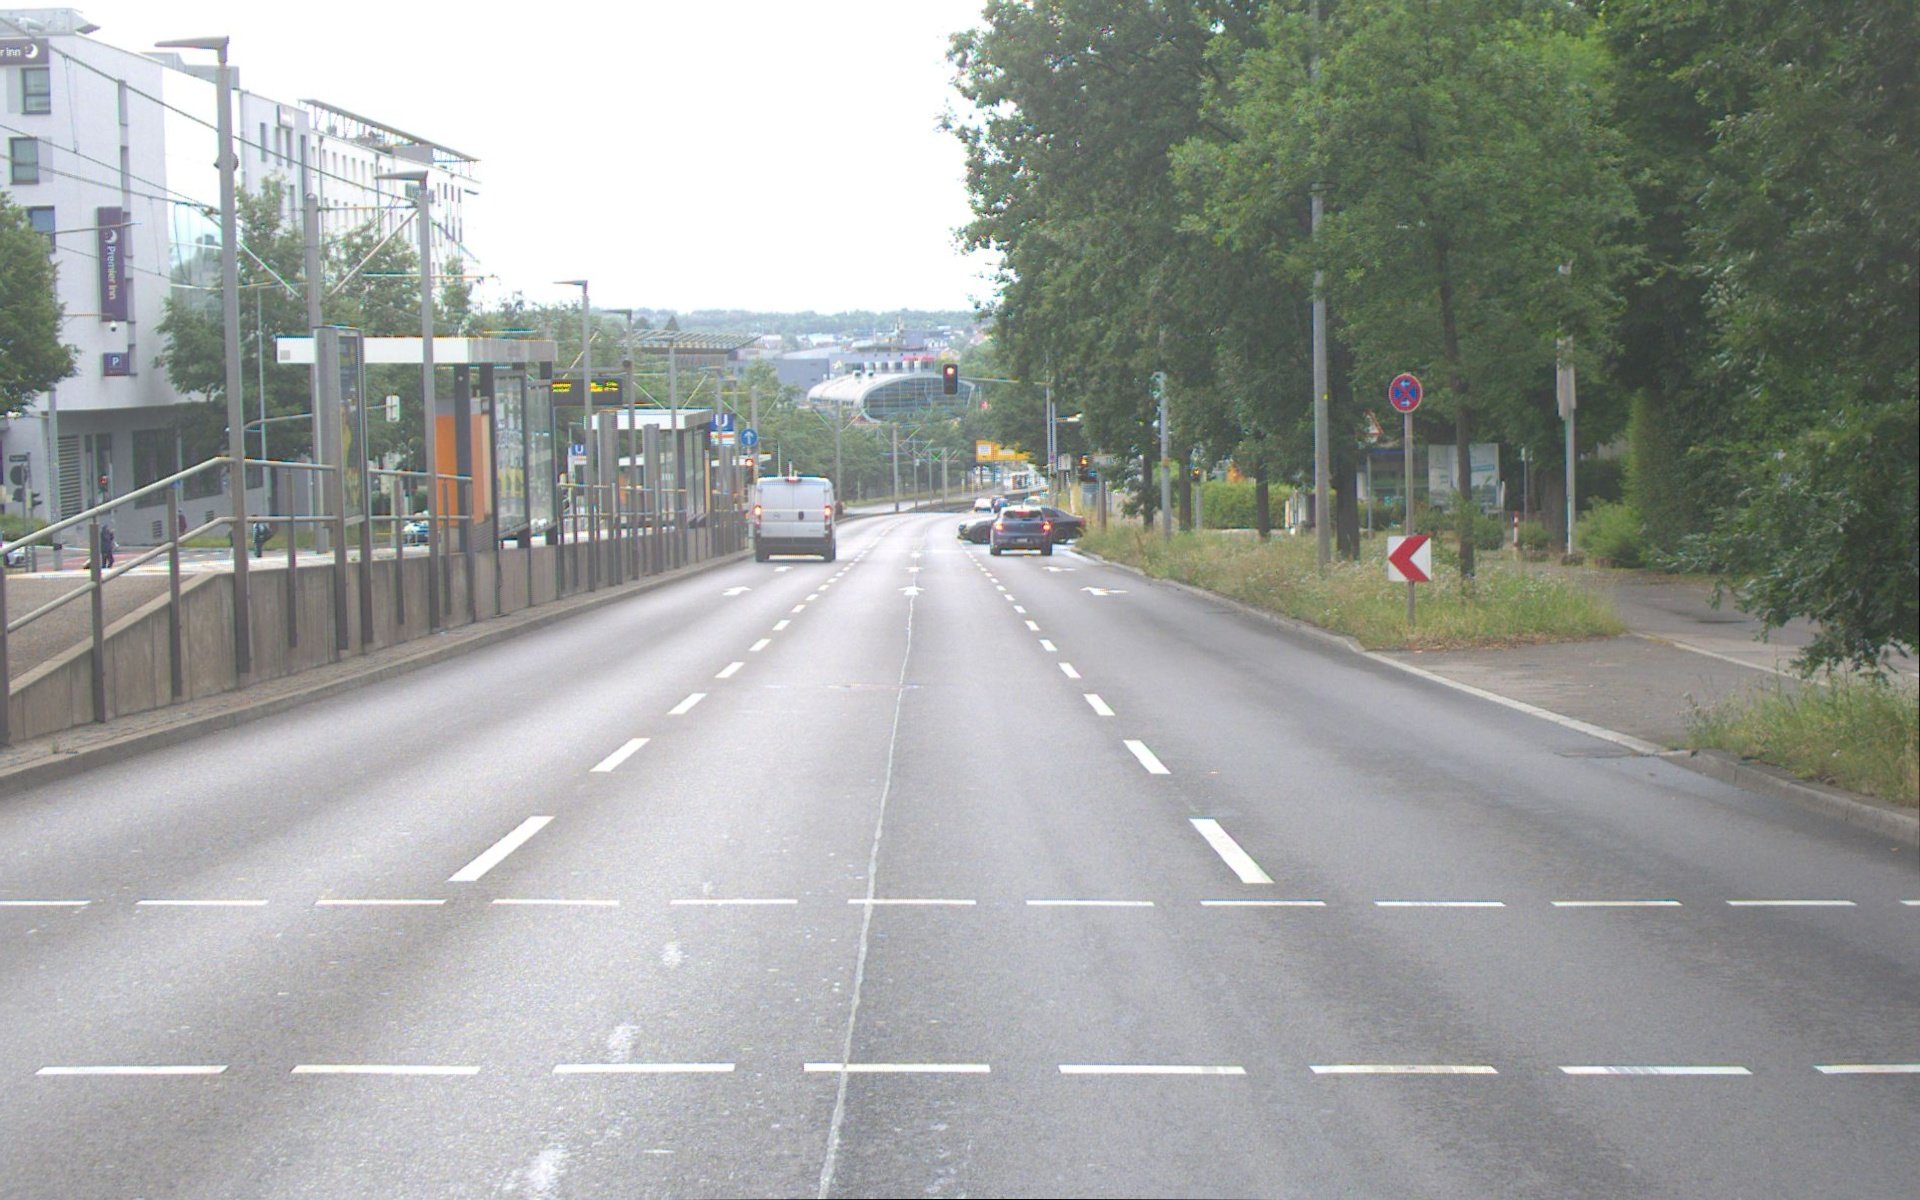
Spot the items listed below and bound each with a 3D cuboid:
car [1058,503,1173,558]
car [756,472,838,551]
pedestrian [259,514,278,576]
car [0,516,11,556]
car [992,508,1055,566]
[{"bbox_3d":[5.755,-2.578,127.569,3.986,2.007,1.760,0,1,-8],"label":"car"},{"bbox_3d":[-4.330,-2.379,91.736,2.093,2.046,4.607,0,2,-2],"label":"car"},{"bbox_3d":[-21.508,-1.723,106.957,0.475,1.914,0.490,0,1,-1],"label":"pedestrian"},{"bbox_3d":[-35.589,-2.169,120.945,3.867,1.431,1.656,-3,2,-1],"label":"car"},{"bbox_3d":[1.879,-1.890,102.572,1.774,1.685,3.846,0,2,-1],"label":"car"}]
